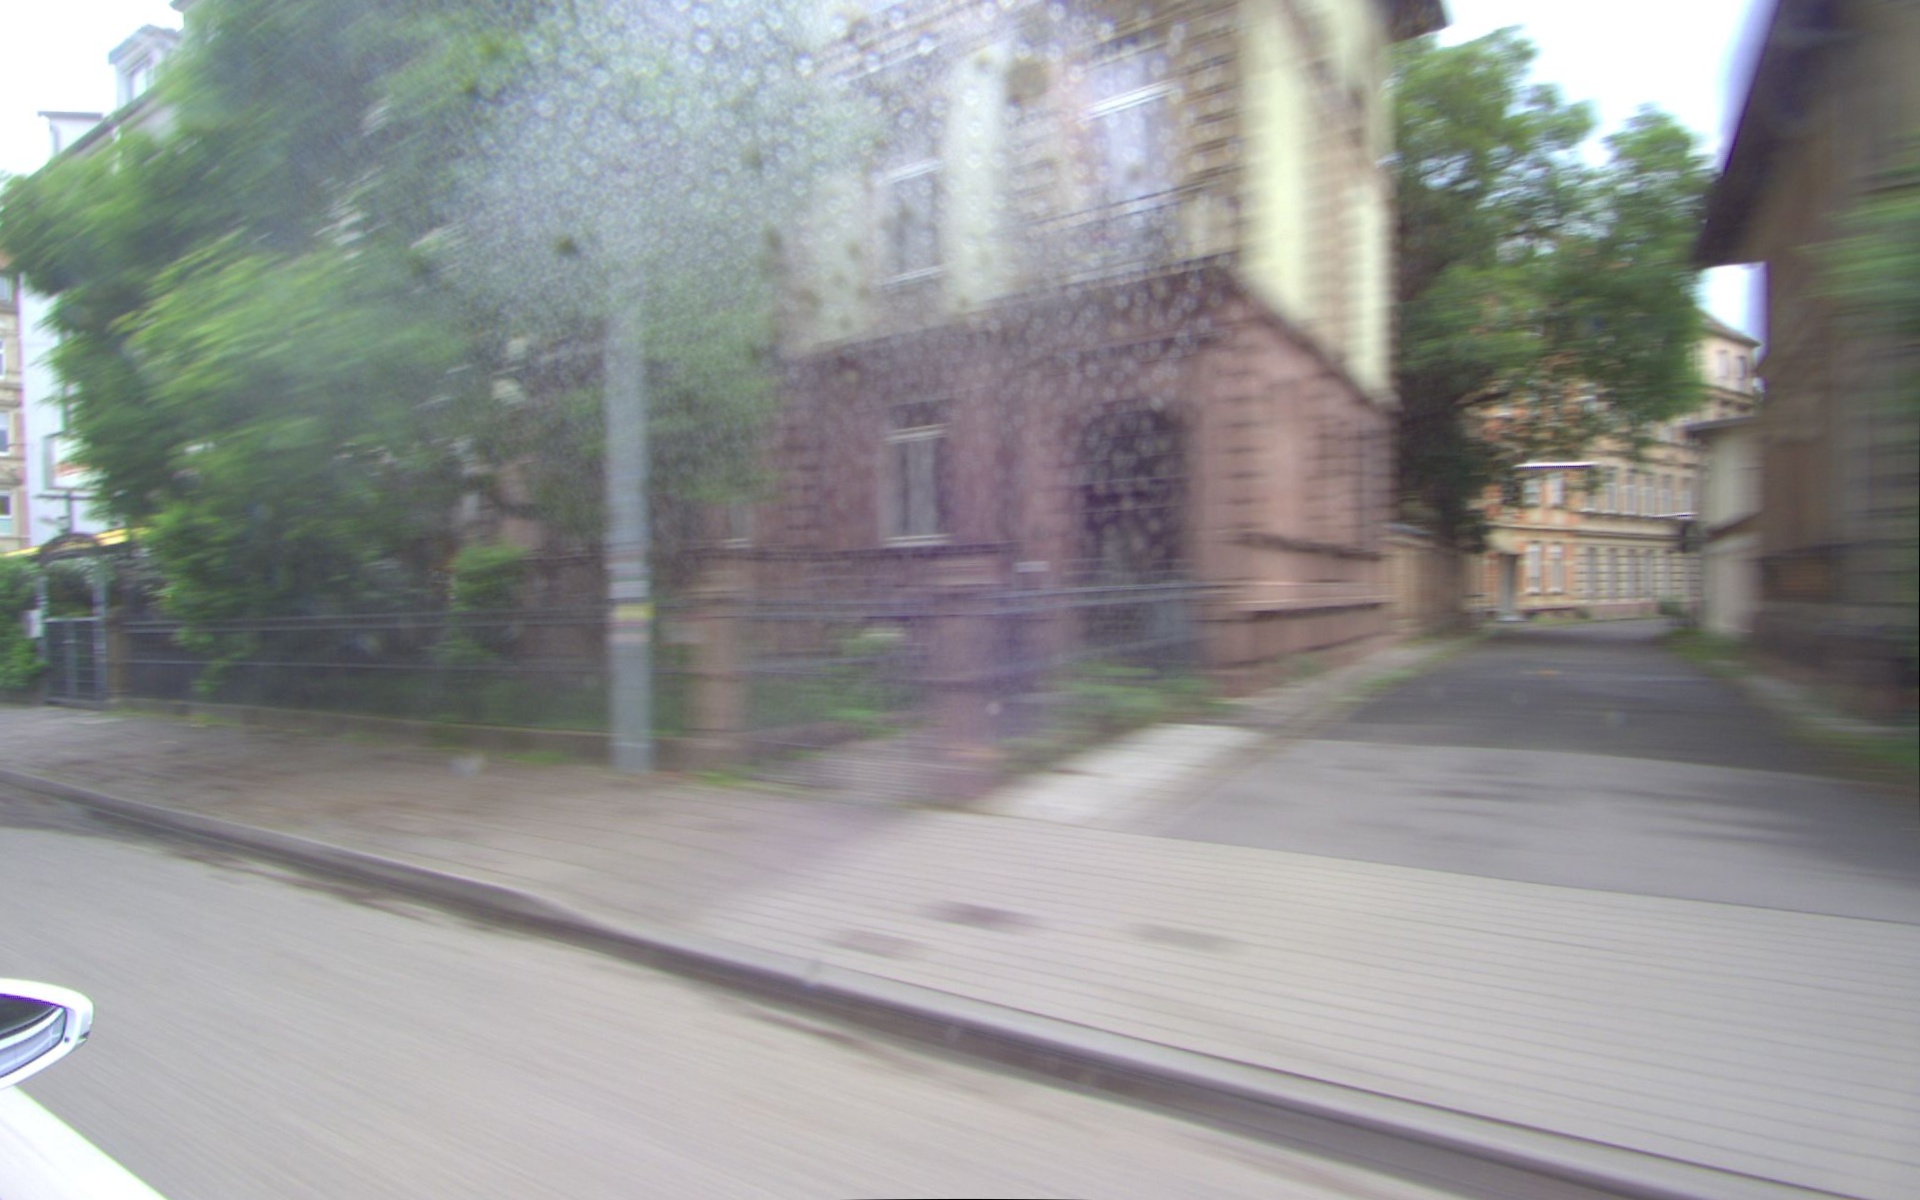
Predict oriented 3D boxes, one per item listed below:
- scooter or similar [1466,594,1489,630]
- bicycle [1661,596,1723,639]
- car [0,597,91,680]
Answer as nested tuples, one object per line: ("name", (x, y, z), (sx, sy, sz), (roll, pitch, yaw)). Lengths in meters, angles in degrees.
("scooter or similar", (16.781, 0.380, 32.445), (0.543, 1.143, 1.852), (0, 1, 31))
("bicycle", (22.187, 0.527, 30.375), (1.453, 1.289, 0.481), (-1, 1, 28))
("car", (-22.884, 0.938, 22.829), (1.799, 1.834, 4.267), (0, 2, 34))
